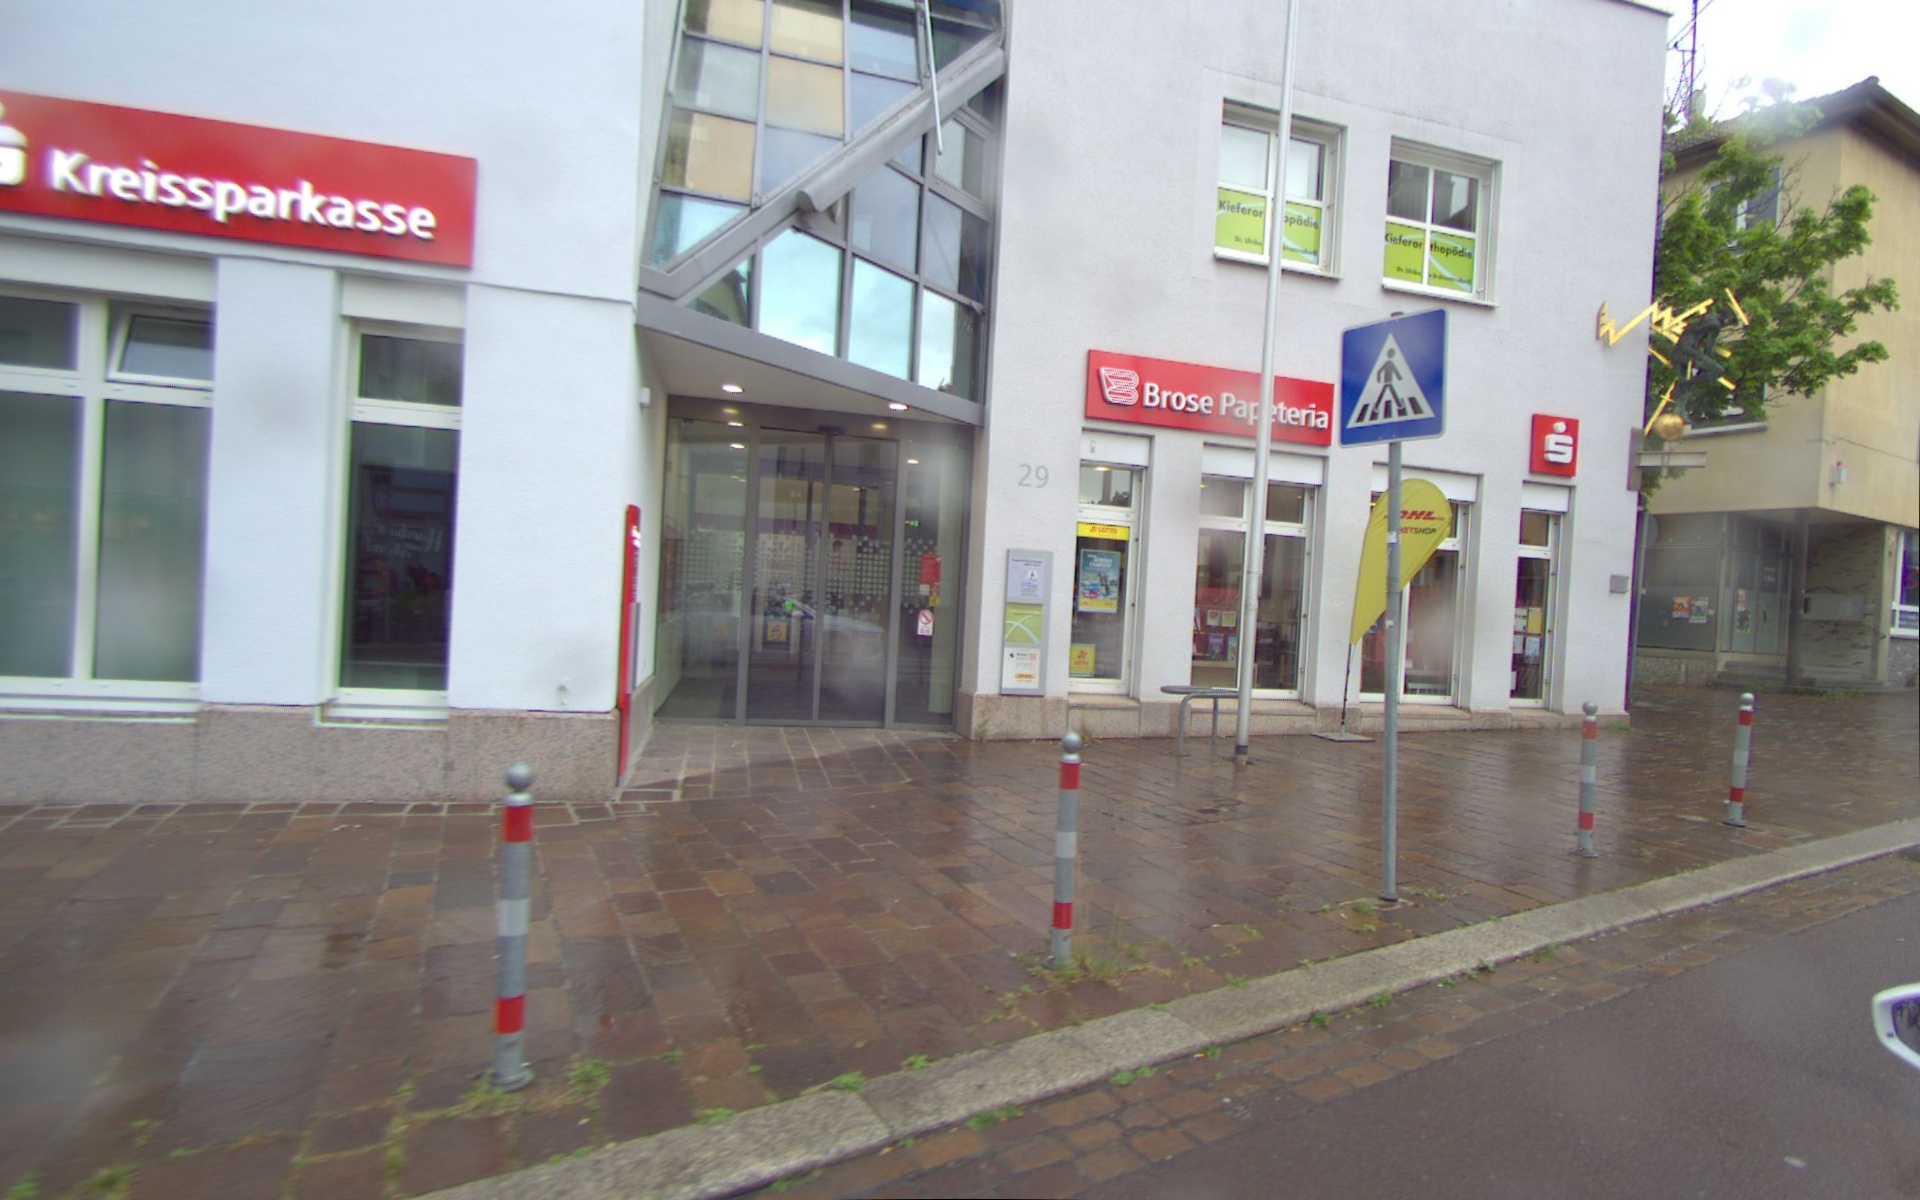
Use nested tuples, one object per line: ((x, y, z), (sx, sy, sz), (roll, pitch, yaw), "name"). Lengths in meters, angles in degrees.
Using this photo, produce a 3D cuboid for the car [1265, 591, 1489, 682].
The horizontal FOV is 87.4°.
((8.019, 0.653, 19.746), (1.934, 1.585, 3.984), (2, 0, -18), "car")
